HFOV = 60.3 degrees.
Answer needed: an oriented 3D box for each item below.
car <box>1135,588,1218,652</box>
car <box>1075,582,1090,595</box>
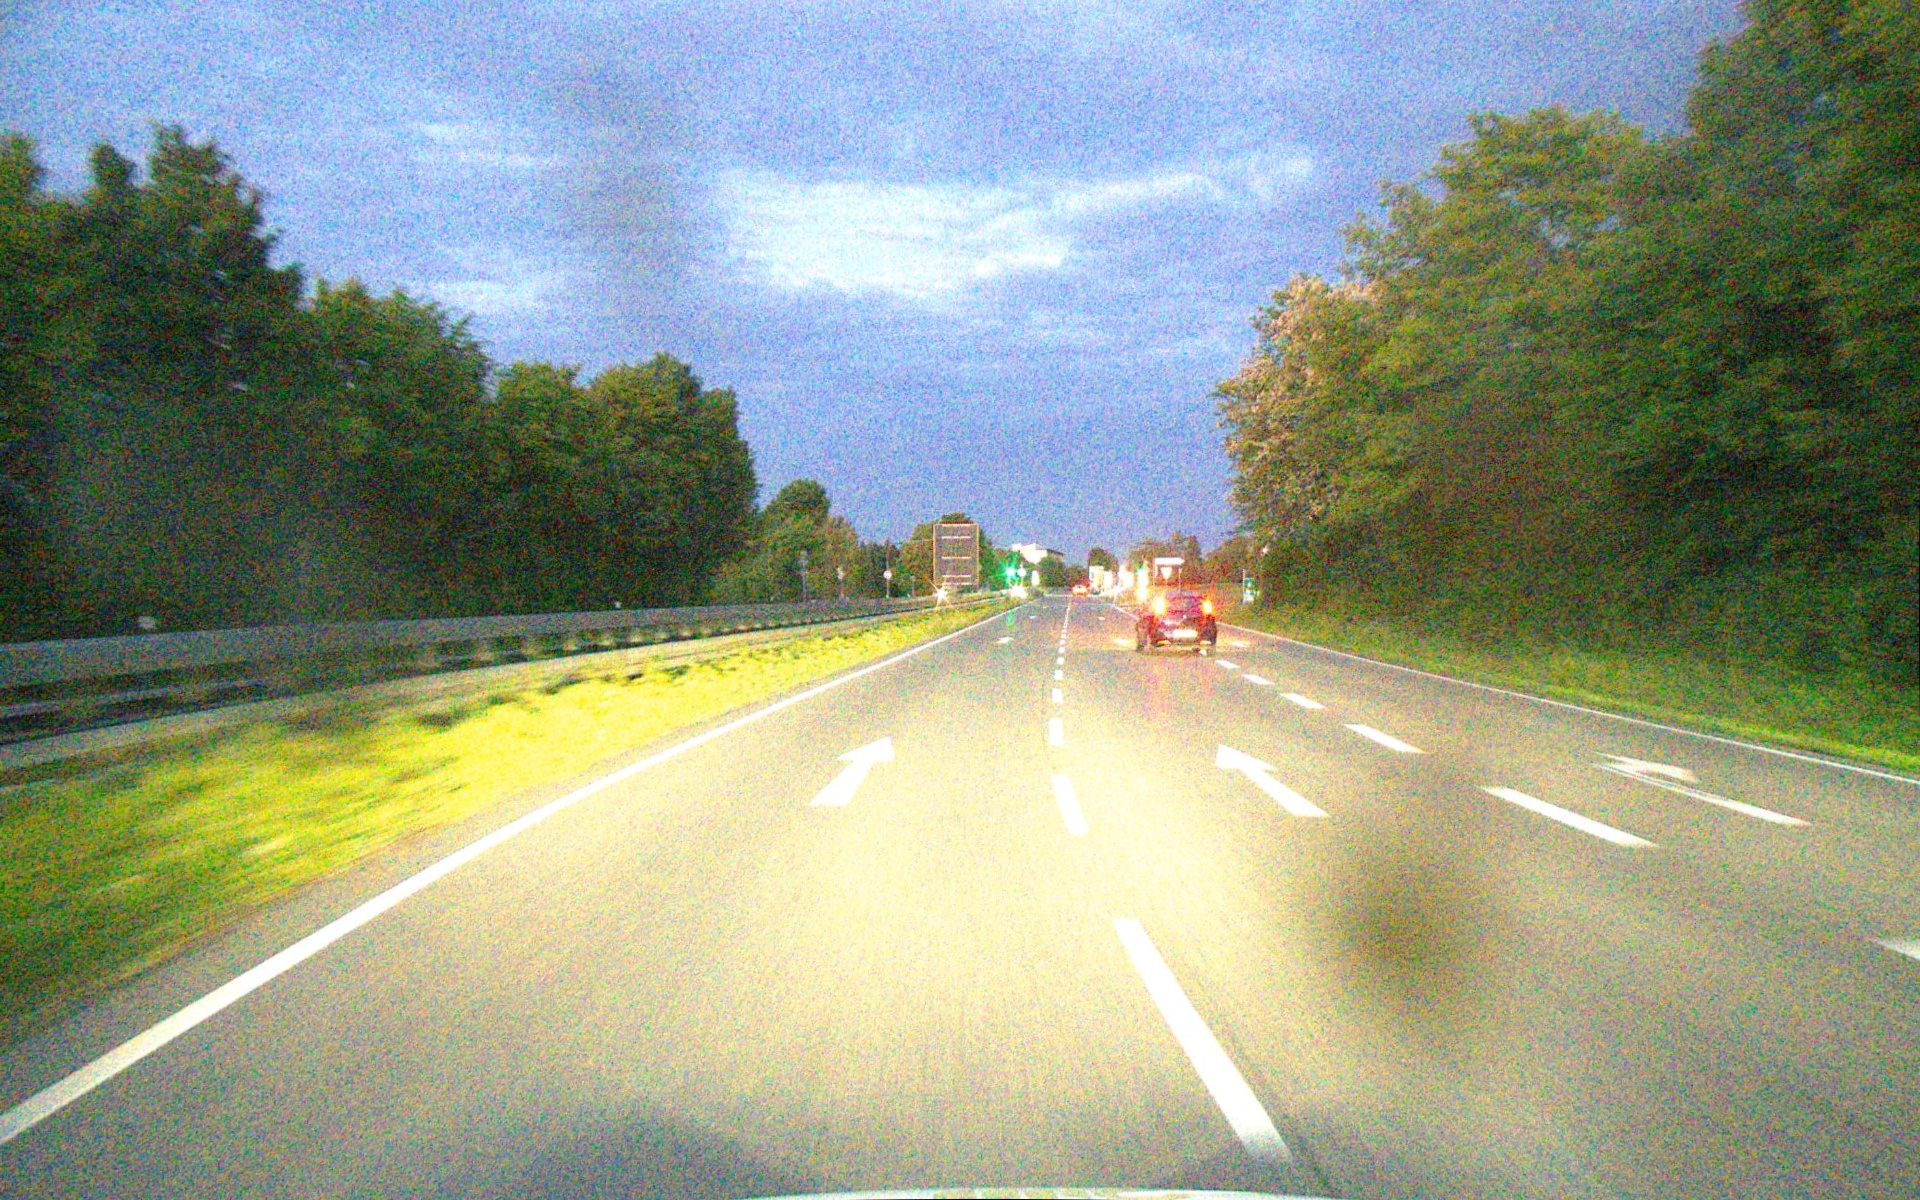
[{"bbox_3d":[5.272,0.445,40.762,1.716,1.478,4.435,0,0,3],"label":"car"},{"bbox_3d":[17.542,-1.633,237.517,1.952,1.780,4.001,-4,-1,2],"label":"car"}]
